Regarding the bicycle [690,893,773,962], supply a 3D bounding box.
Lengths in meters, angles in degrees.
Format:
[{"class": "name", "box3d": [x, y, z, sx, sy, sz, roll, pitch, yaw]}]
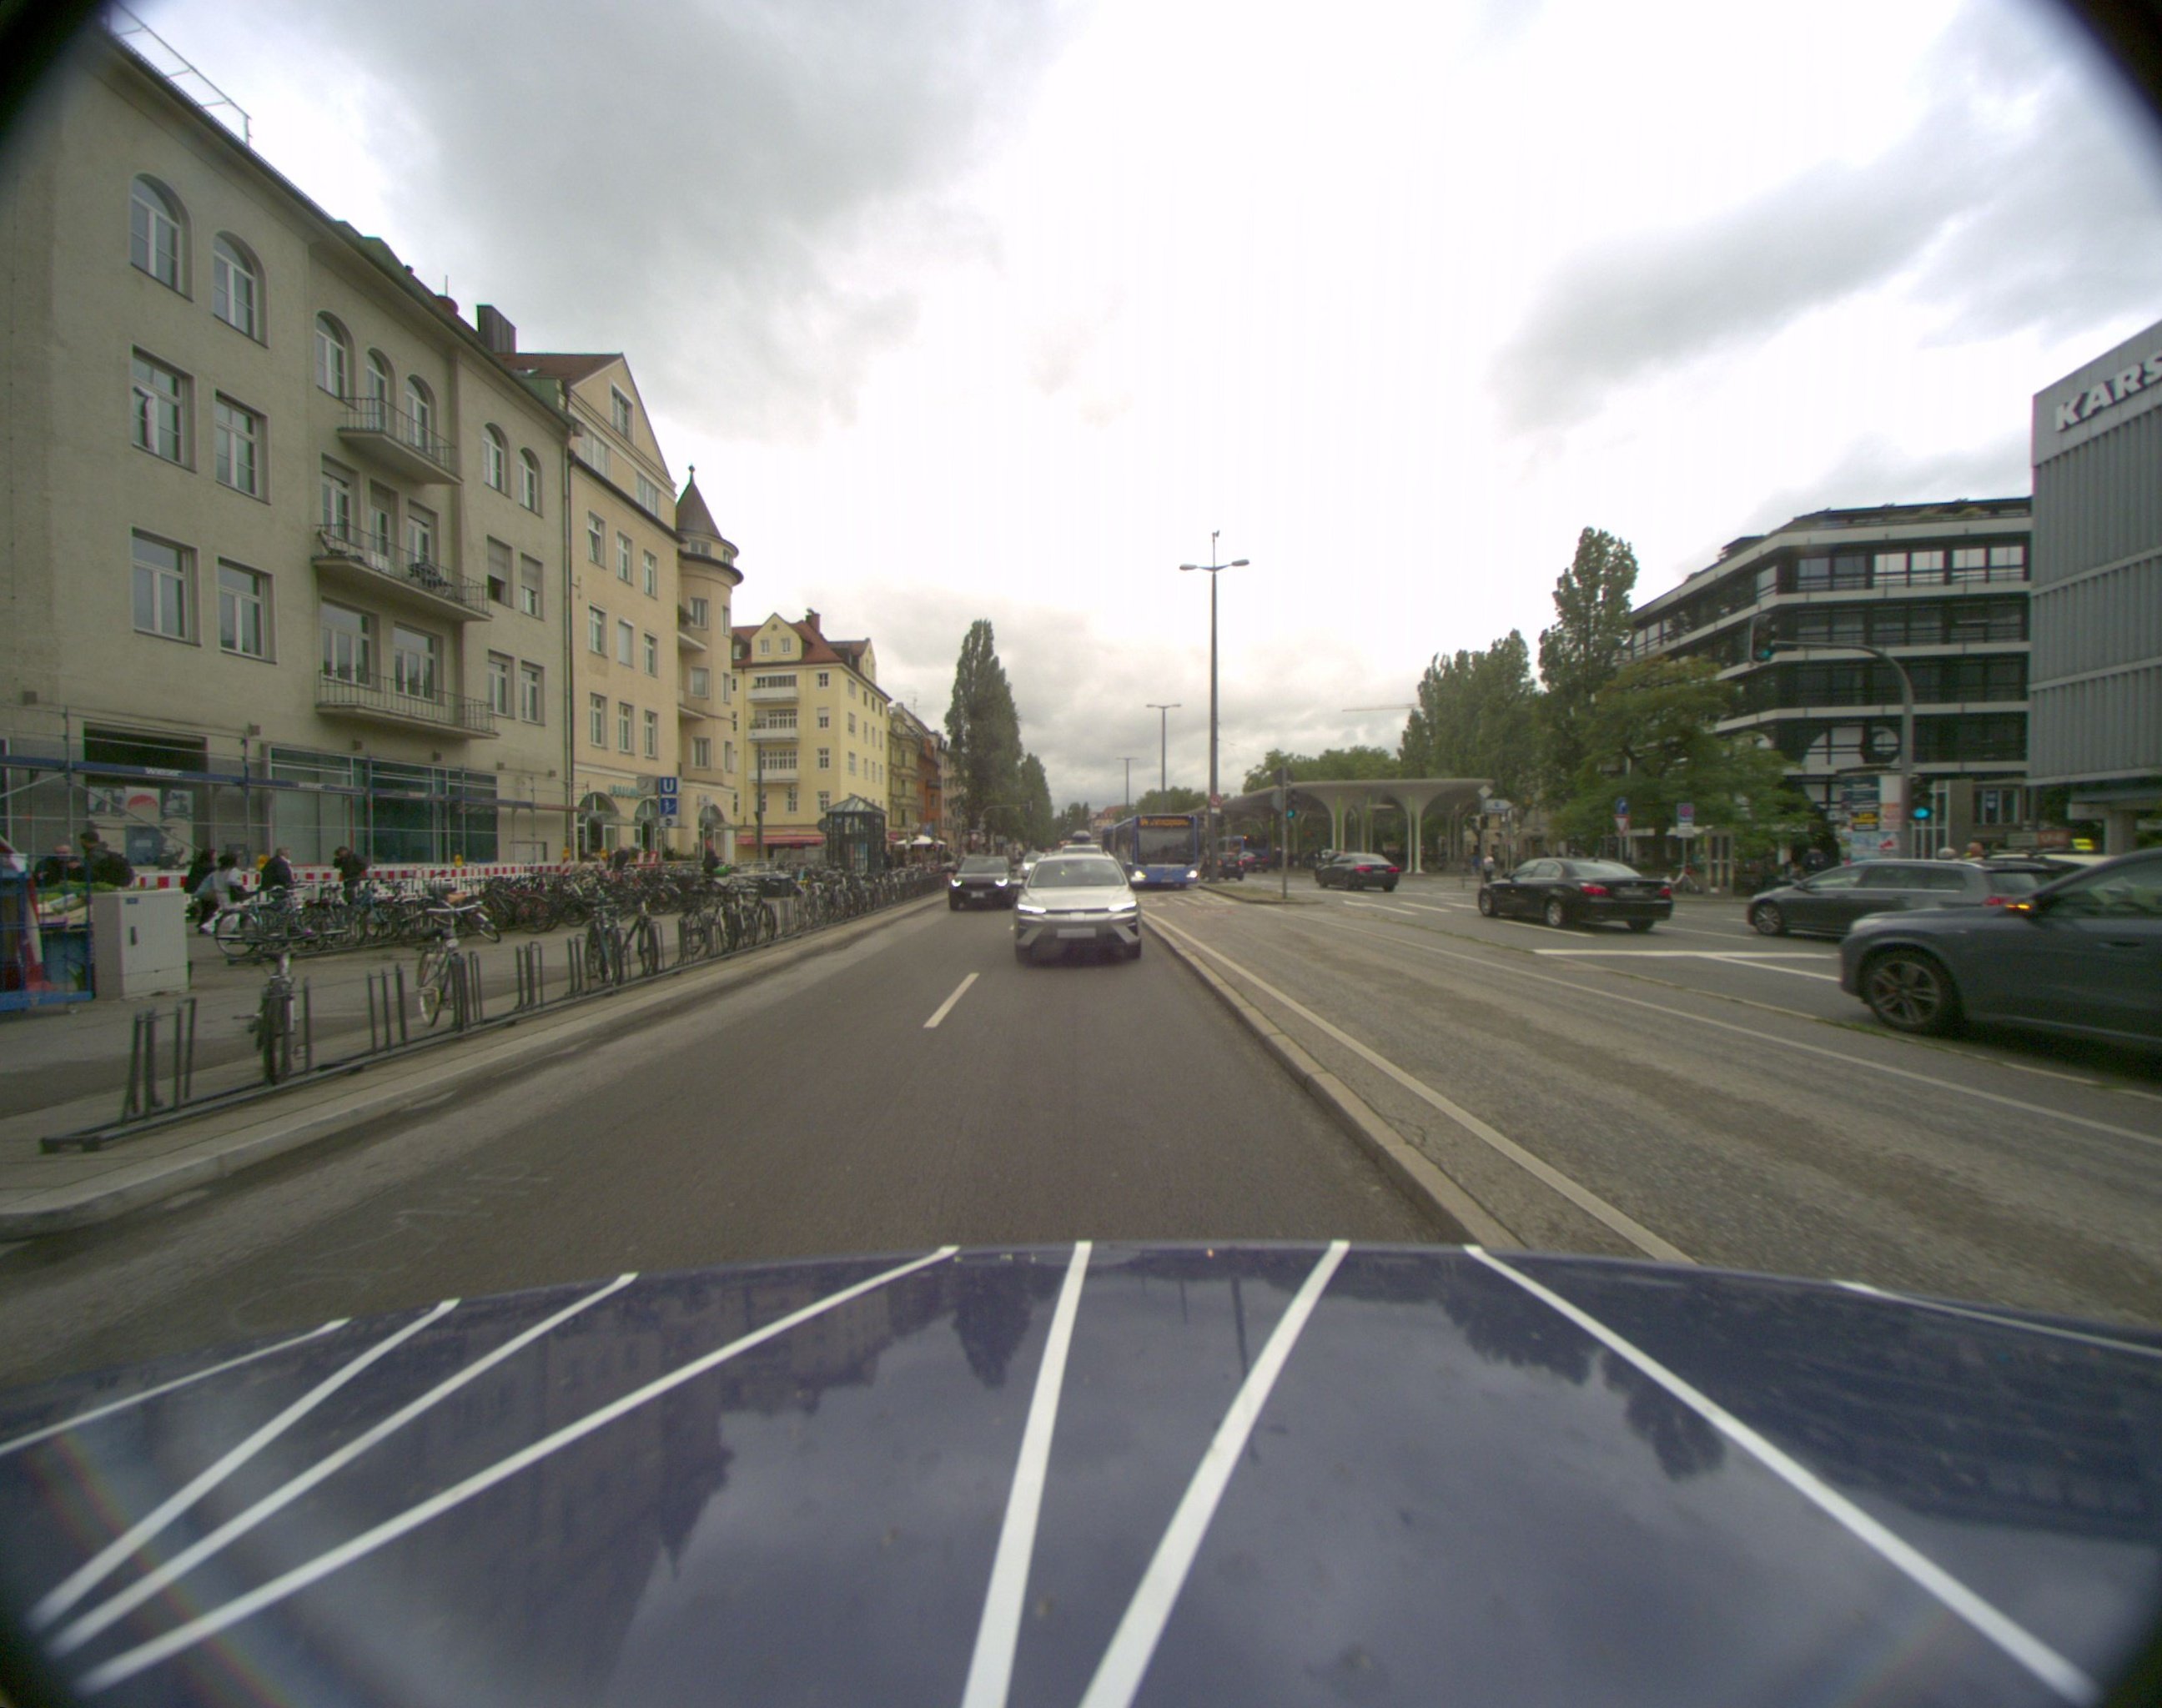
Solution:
[{"class": "bicycle", "box3d": [-5.559, 1.163, 12.038, 1.797, 1.004, 0.387, -4, -1, 39]}]

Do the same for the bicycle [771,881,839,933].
[{"class": "bicycle", "box3d": [-5.713, 1.105, 15.693, 1.797, 1.004, 0.387, -4, -1, 39]}]

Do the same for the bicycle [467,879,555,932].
[{"class": "bicycle", "box3d": [-11.963, 1.070, 15.972, 1.453, 1.071, 0.410, 1, 1, -9]}]

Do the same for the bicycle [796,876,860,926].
[{"class": "bicycle", "box3d": [-5.736, 1.076, 17.179, 1.797, 1.053, 0.398, -4, -1, 39]}]

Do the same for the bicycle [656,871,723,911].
[{"class": "bicycle", "box3d": [-10.807, 1.012, 20.978, 1.625, 1.071, 0.410, 1, 1, -1]}]

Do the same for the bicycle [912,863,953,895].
[{"class": "bicycle", "box3d": [-5.466, 0.895, 27.961, 1.673, 1.131, 0.479, -1, 2, 39]}]

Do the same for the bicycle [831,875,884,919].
[{"class": "bicycle", "box3d": [-5.703, 1.096, 19.299, 0.398, 1.053, 1.848, -3, -1, -45]}]

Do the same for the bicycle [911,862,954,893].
[{"class": "bicycle", "box3d": [-5.627, 0.884, 28.724, 1.780, 1.131, 0.479, -1, 1, 34]}]

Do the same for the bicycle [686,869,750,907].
[{"class": "bicycle", "box3d": [-10.537, 0.982, 22.063, 1.655, 1.071, 0.410, 1, 1, -1]}]

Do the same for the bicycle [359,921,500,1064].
[{"class": "bicycle", "box3d": [-5.679, 1.132, 6.584, 1.797, 1.048, 0.548, -4, -1, 38]}]

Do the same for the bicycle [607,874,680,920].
[{"class": "bicycle", "box3d": [-10.660, 1.041, 18.542, 1.539, 1.071, 0.410, 1, 1, -1]}]

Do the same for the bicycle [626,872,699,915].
[{"class": "bicycle", "box3d": [-10.860, 1.031, 19.738, 1.661, 1.071, 0.410, 1, 1, -1]}]

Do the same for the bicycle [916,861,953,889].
[{"class": "bicycle", "box3d": [-5.997, 0.876, 31.042, 1.848, 1.053, 0.398, -4, -1, 43]}]

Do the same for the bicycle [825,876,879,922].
[{"class": "bicycle", "box3d": [-5.616, 1.108, 18.574, 0.398, 1.053, 1.848, -3, -1, -45]}]

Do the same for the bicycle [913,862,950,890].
[{"class": "bicycle", "box3d": [-5.967, 0.894, 30.313, 1.848, 1.053, 0.398, -4, -1, 43]}]

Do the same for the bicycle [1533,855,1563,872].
[{"class": "bicycle", "box3d": [30.535, 0.622, 49.706, 0.473, 1.091, 1.671, 0, 1, -24]}]

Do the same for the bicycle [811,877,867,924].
[{"class": "bicycle", "box3d": [-5.697, 1.099, 17.848, 0.398, 1.053, 1.848, -3, -1, -45]}]

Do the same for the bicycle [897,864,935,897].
[{"class": "bicycle", "box3d": [-5.810, 0.929, 26.765, 1.521, 1.131, 0.349, -1, 2, 36]}]

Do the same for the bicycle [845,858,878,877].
[{"class": "bicycle", "box3d": [-13.115, 0.803, 45.367, 1.822, 1.121, 0.610, 0, 0, 13]}]

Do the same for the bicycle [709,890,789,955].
[{"class": "bicycle", "box3d": [-5.585, 1.151, 12.743, 1.797, 1.004, 0.387, -4, -1, 39]}]

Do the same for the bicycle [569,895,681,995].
[{"class": "bicycle", "box3d": [-5.657, 1.093, 9.379, 1.797, 1.098, 0.548, -4, -1, 39]}]

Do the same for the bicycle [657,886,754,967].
[{"class": "bicycle", "box3d": [-5.679, 1.081, 11.458, 1.797, 1.098, 0.548, -4, -1, 39]}]

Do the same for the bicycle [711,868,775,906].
[{"class": "bicycle", "box3d": [-10.286, 0.983, 23.156, 0.409, 1.071, 1.765, 2, 2, 40]}]

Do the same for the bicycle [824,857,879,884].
[{"class": "bicycle", "box3d": [-10.469, 0.729, 34.701, 2.317, 1.220, 0.628, 0, 1, 3]}]

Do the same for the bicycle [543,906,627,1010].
[{"class": "bicycle", "box3d": [-5.680, 1.143, 8.658, 1.797, 1.048, 0.368, -4, -1, 44]}]

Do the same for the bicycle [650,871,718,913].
[{"class": "bicycle", "box3d": [-10.570, 0.998, 20.242, 1.637, 1.071, 0.410, 1, 1, 5]}]

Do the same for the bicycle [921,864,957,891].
[{"class": "bicycle", "box3d": [-5.962, 0.983, 31.732, 1.848, 1.053, 0.398, -4, -1, 43]}]

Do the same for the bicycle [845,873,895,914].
[{"class": "bicycle", "box3d": [-5.753, 1.083, 20.652, 0.398, 1.053, 1.848, -3, -1, -45]}]

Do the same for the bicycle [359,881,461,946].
[{"class": "bicycle", "box3d": [-11.985, 1.050, 13.583, 1.631, 1.097, 0.410, 1, 1, 9]}]

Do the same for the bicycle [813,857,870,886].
[{"class": "bicycle", "box3d": [-10.496, 0.758, 33.320, 2.317, 1.220, 0.628, 0, 1, 3]}]

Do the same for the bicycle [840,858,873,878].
[{"class": "bicycle", "box3d": [-13.208, 0.819, 44.719, 1.822, 1.121, 0.610, 0, 0, 13]}]

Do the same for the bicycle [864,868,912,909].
[{"class": "bicycle", "box3d": [-5.769, 1.011, 22.684, 1.790, 1.131, 0.490, 0, 2, 44]}]

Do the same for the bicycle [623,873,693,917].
[{"class": "bicycle", "box3d": [-10.641, 1.029, 19.131, 1.528, 1.071, 0.410, 1, 1, -1]}]

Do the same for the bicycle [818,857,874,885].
[{"class": "bicycle", "box3d": [-10.491, 0.744, 33.983, 2.317, 1.220, 0.628, 0, 1, 3]}]

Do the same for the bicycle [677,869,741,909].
[{"class": "bicycle", "box3d": [-10.583, 0.992, 21.611, 1.605, 1.071, 0.410, 1, 1, -1]}]

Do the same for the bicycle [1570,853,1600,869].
[{"class": "bicycle", "box3d": [34.435, 0.467, 51.926, 0.473, 1.091, 1.671, 0, 1, -24]}]

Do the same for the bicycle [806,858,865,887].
[{"class": "bicycle", "box3d": [-10.555, 0.772, 32.687, 2.317, 1.220, 0.628, 0, 1, 3]}]

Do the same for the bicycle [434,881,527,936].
[{"class": "bicycle", "box3d": [-12.113, 1.087, 15.341, 1.453, 1.071, 0.410, 1, 1, -9]}]

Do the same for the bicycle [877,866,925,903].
[{"class": "bicycle", "box3d": [-5.846, 0.973, 24.675, 1.790, 1.131, 0.490, -1, 1, 38]}]

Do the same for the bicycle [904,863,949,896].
[{"class": "bicycle", "box3d": [-5.534, 0.912, 27.186, 1.674, 1.131, 0.479, -1, 1, 30]}]

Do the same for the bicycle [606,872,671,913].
[{"class": "bicycle", "box3d": [-12.008, 1.053, 20.633, 1.530, 1.071, 0.410, 1, 1, -1]}]

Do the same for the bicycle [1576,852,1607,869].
[{"class": "bicycle", "box3d": [35.230, 0.433, 52.451, 0.474, 1.091, 1.671, -1, 1, -34]}]

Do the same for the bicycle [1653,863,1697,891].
[{"class": "bicycle", "box3d": [21.694, 0.829, 27.768, 1.298, 1.010, 0.419, 0, 1, -2]}]

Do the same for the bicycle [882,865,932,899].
[{"class": "bicycle", "box3d": [-5.959, 0.949, 25.987, 1.790, 1.131, 0.591, -1, 1, 36]}]
